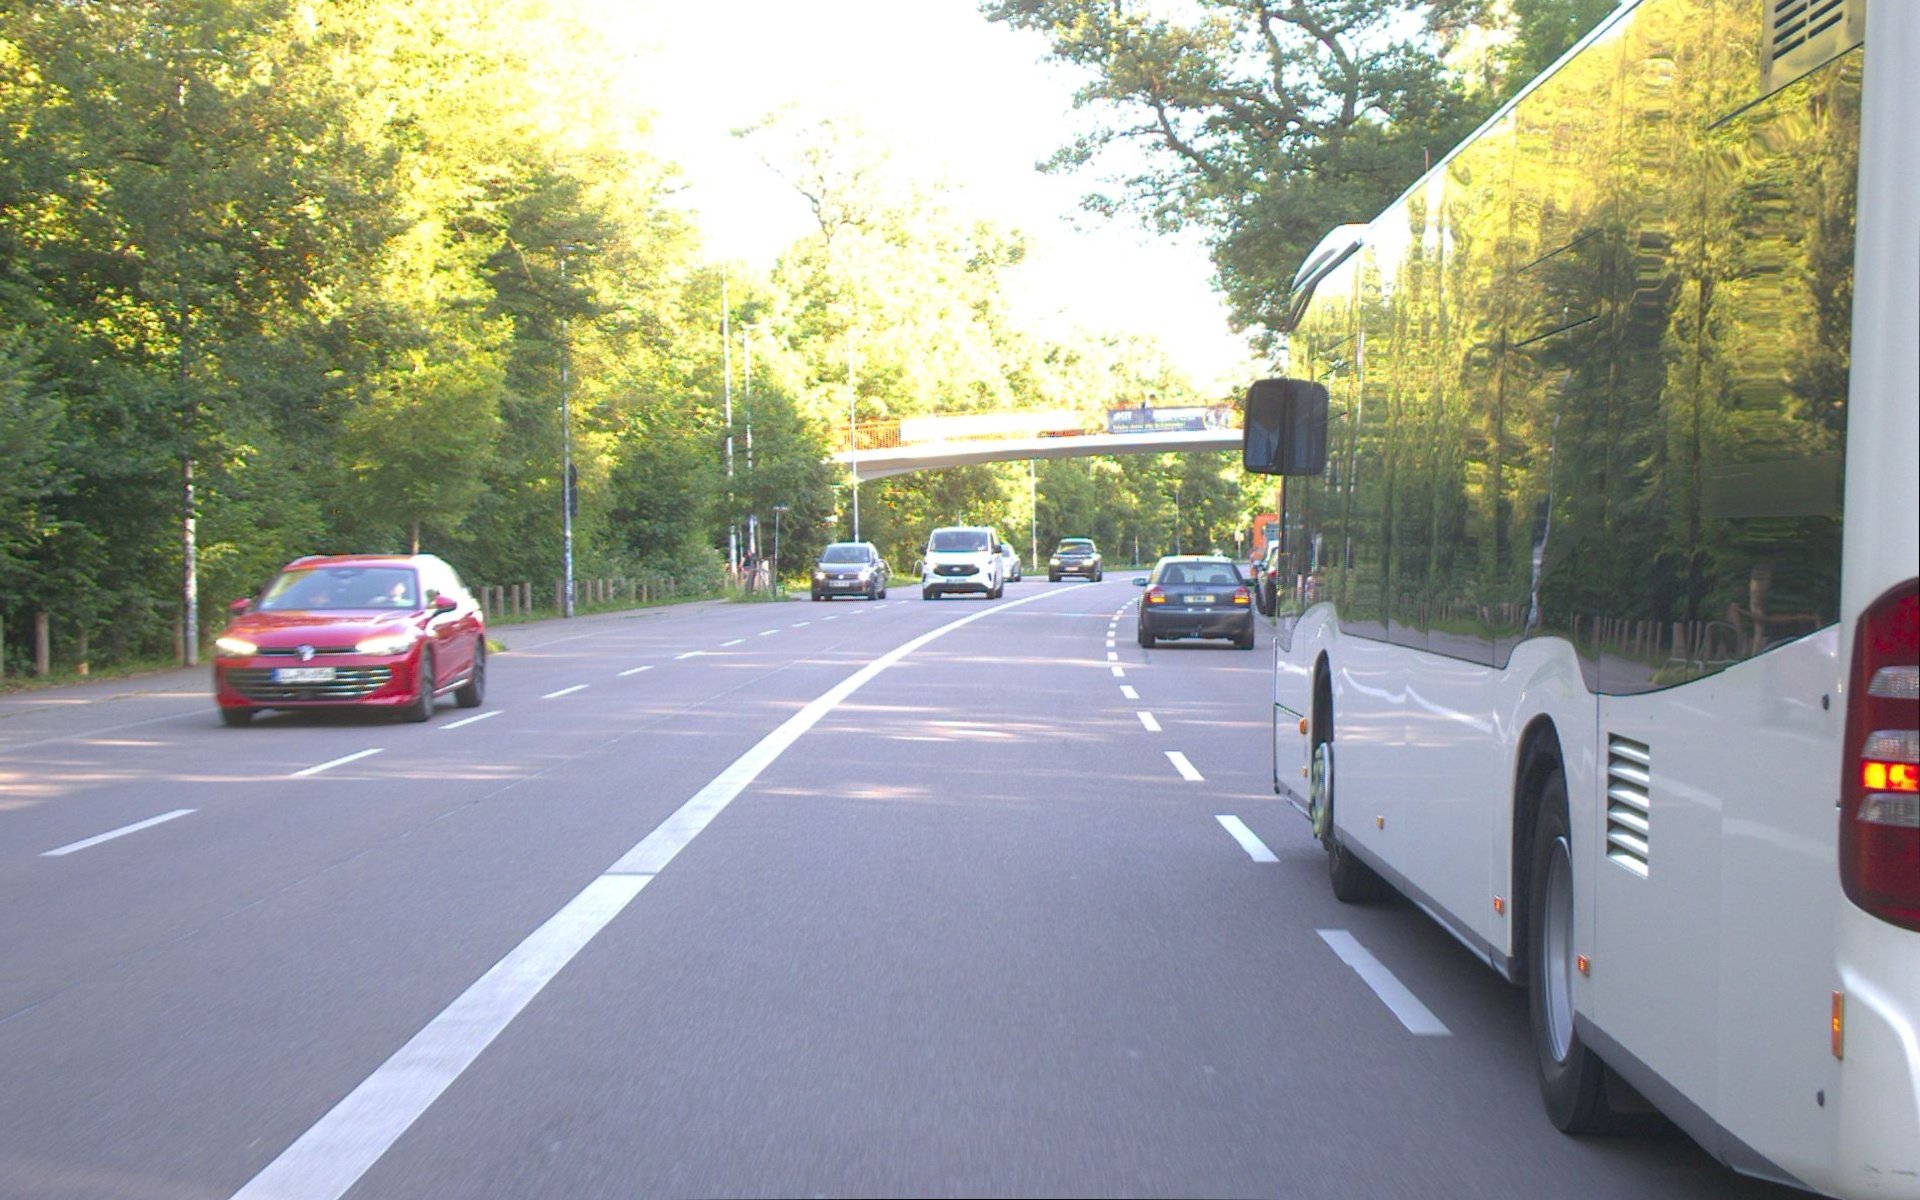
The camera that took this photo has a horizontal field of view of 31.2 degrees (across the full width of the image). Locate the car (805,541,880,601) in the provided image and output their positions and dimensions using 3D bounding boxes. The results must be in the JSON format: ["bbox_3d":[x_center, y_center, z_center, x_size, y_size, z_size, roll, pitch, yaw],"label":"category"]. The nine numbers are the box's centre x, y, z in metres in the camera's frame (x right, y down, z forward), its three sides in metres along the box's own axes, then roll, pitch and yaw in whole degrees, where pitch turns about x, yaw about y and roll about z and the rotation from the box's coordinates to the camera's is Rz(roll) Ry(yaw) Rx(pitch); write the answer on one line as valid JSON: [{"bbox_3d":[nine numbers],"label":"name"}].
[{"bbox_3d":[-3.201,-0.827,94.430,1.800,1.594,4.000,0,1,1],"label":"car"}]

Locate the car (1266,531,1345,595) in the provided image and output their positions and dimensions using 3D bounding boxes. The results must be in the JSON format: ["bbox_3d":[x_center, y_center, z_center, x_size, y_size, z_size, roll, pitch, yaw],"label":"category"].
[{"bbox_3d":[8.572,-0.931,85.542,1.728,1.536,4.089,0,1,3],"label":"car"}]

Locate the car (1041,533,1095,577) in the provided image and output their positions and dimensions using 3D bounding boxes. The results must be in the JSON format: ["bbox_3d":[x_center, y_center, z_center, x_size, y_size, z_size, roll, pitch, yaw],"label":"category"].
[{"bbox_3d":[4.317,-1.796,136.448,1.918,1.698,4.442,0,1,5],"label":"car"}]

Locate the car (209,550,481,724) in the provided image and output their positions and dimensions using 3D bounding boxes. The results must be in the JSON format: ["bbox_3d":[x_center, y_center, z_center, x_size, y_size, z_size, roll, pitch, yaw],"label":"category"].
[{"bbox_3d":[-5.561,0.280,31.642,1.823,1.457,4.926,0,1,-3],"label":"car"}]

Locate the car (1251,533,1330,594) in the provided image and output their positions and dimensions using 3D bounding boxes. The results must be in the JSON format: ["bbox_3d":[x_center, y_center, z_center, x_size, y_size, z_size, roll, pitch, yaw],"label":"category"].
[{"bbox_3d":[8.682,-0.971,90.673,1.838,1.569,4.459,0,1,3],"label":"car"}]

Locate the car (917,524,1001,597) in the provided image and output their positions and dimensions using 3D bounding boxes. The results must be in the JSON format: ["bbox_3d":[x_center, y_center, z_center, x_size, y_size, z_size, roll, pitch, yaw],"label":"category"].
[{"bbox_3d":[0.005,-1.108,94.994,2.206,1.954,4.913,0,1,1],"label":"car"}]

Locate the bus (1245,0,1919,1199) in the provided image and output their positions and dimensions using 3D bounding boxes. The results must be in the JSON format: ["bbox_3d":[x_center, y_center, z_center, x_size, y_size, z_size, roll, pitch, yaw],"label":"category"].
[{"bbox_3d":[2.762,-0.307,11.581,2.704,3.211,12.279,0,1,1],"label":"bus"}]

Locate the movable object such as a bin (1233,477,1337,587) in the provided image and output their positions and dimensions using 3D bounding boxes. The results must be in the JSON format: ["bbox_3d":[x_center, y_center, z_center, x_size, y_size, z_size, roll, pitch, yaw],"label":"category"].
[{"bbox_3d":[10.328,-2.177,109.793,2.759,3.359,7.600,-1,1,1],"label":"movable object such as a bin"}]

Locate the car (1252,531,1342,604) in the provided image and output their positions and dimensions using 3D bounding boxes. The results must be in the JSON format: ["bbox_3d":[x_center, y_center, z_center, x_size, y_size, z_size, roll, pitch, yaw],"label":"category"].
[{"bbox_3d":[7.366,-0.734,75.319,1.728,1.519,4.089,-1,1,3],"label":"car"}]

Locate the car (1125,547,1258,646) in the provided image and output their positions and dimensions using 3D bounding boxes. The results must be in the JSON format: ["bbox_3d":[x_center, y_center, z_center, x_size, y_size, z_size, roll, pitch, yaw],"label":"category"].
[{"bbox_3d":[3.511,-0.083,52.739,1.727,1.436,4.090,0,1,0],"label":"car"}]

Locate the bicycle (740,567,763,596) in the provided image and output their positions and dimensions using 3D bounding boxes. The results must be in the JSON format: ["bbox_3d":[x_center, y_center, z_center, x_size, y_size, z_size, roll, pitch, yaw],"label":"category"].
[{"bbox_3d":[-6.309,-0.567,104.104,0.495,0.811,1.808,1,1,3],"label":"bicycle"}]
